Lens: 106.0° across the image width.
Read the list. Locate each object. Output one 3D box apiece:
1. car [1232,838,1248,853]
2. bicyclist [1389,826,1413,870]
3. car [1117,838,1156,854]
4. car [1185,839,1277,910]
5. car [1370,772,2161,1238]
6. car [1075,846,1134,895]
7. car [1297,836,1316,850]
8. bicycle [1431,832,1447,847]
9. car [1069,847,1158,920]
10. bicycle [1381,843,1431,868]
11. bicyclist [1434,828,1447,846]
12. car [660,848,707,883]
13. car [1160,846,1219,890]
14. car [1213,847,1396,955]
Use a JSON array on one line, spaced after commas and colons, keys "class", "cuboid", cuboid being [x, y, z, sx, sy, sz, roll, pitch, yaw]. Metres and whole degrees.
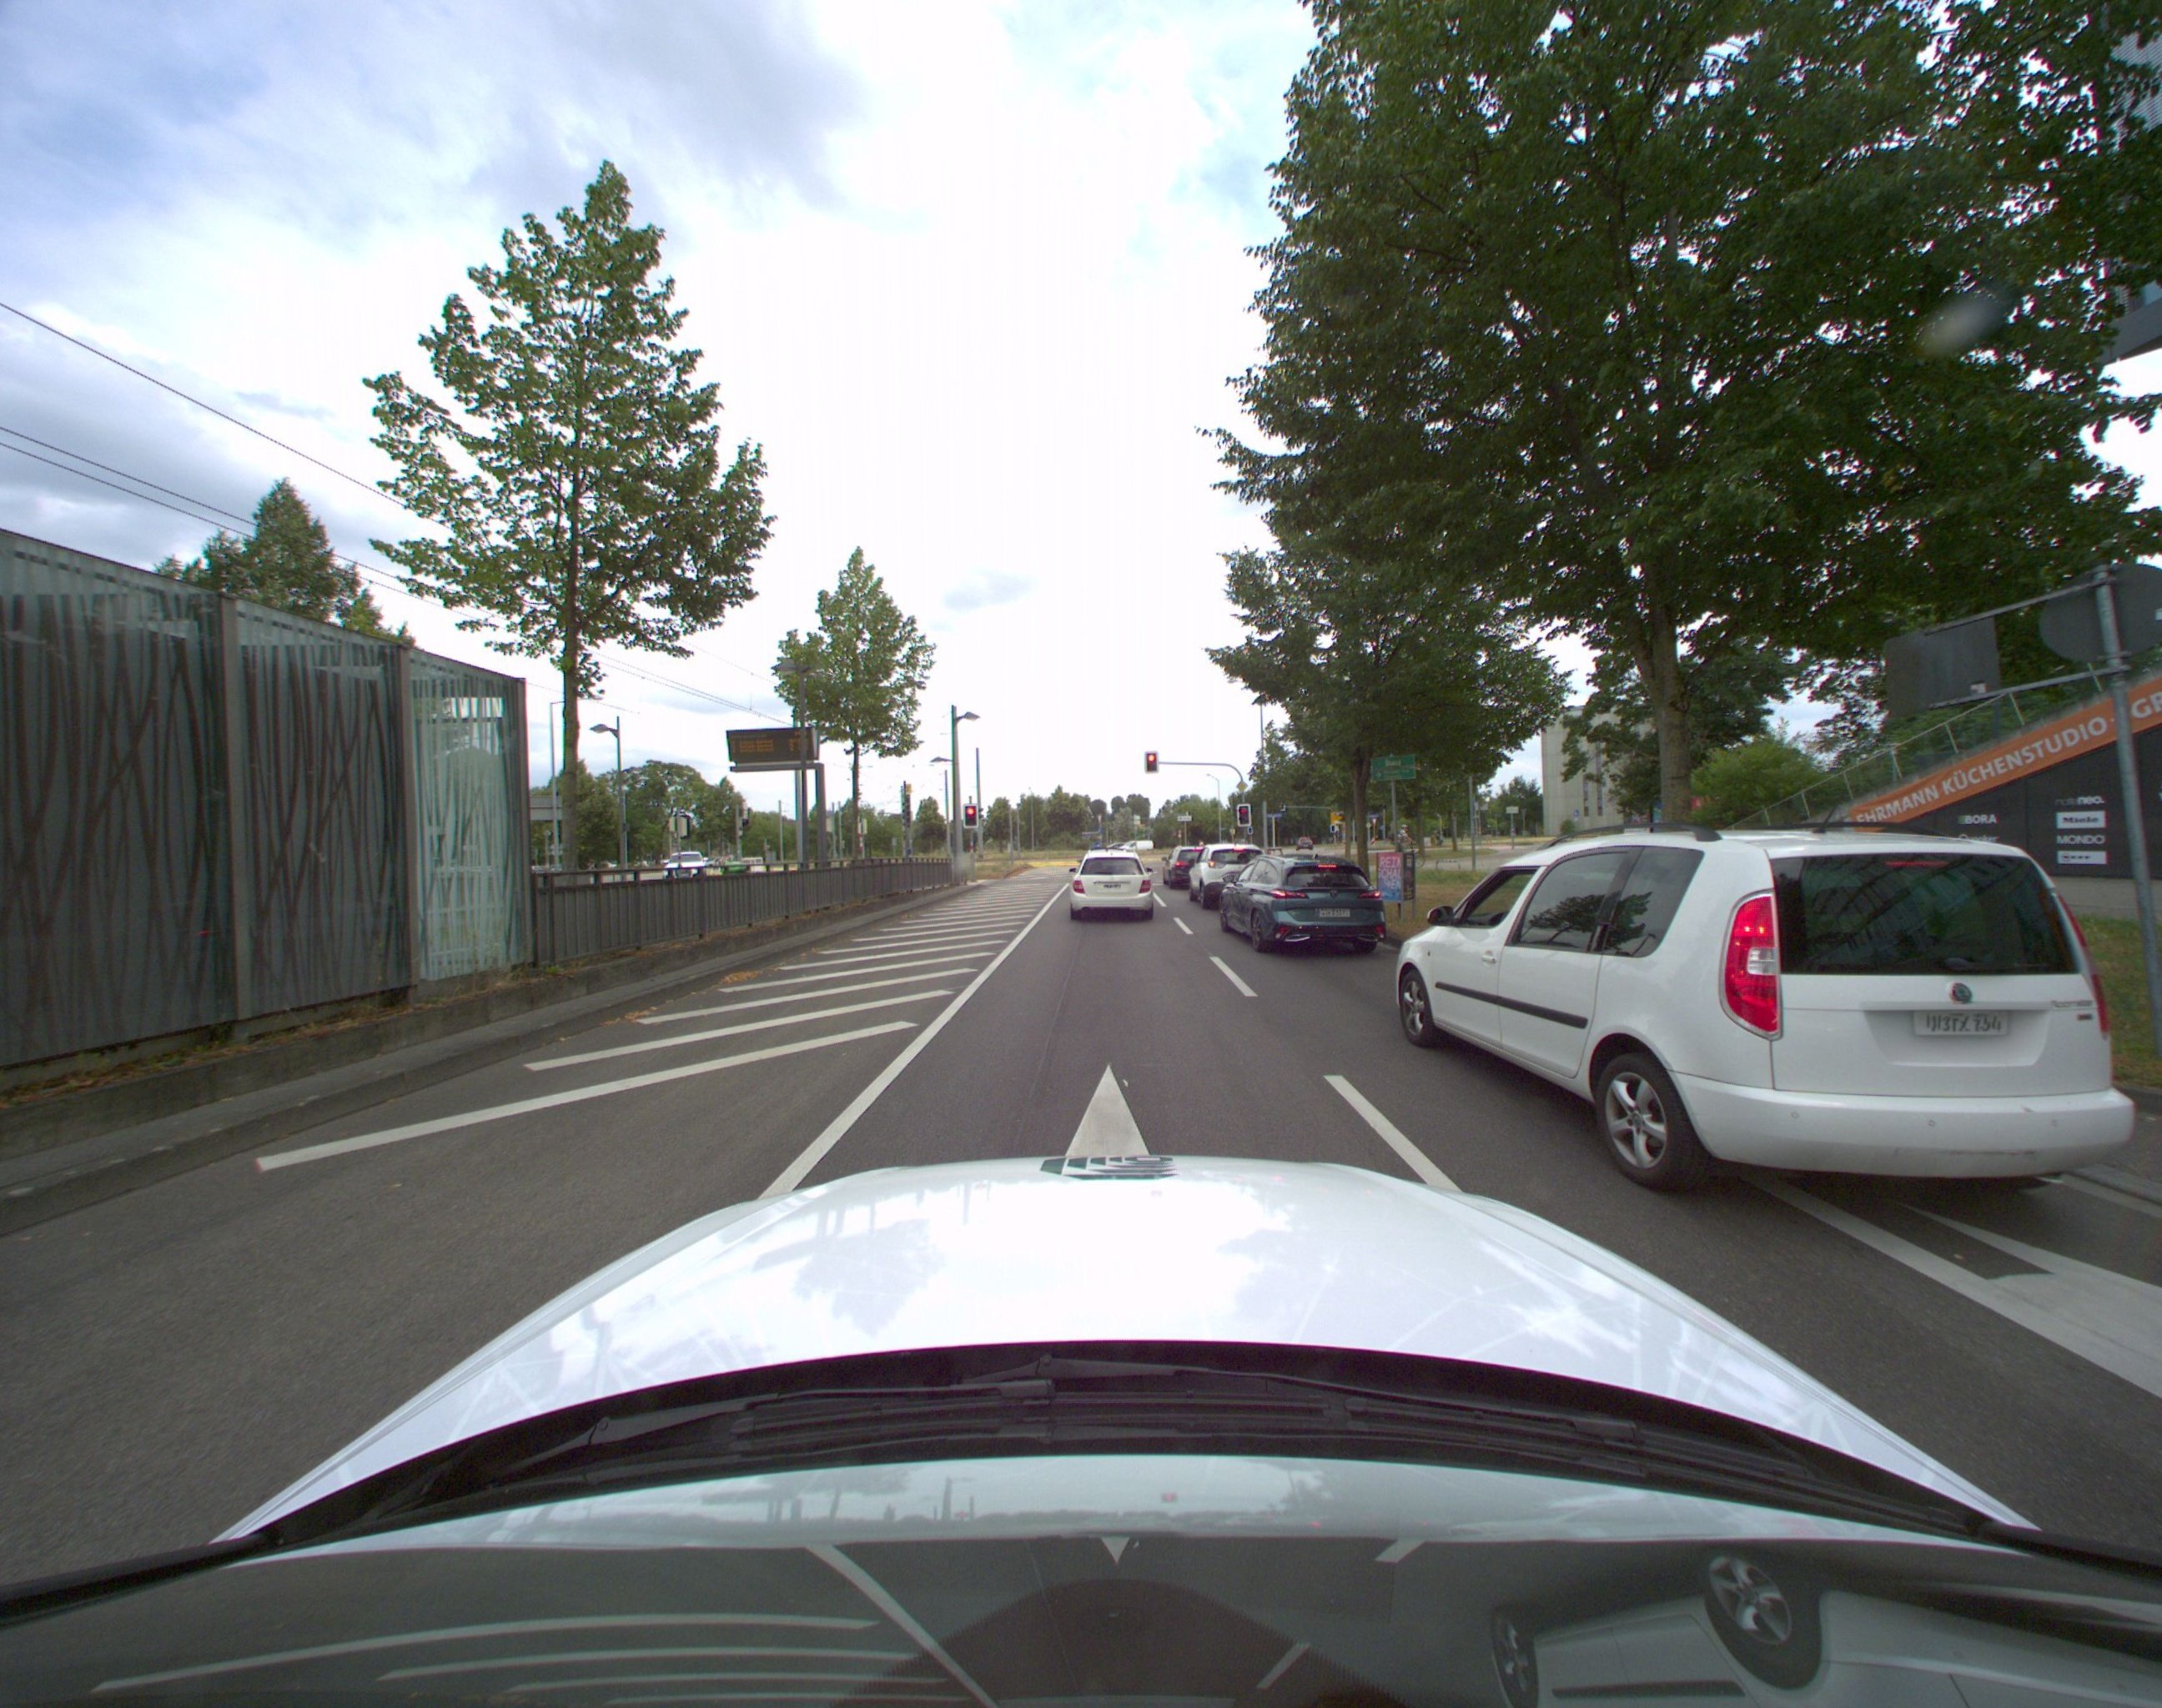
[{"class": "car", "cuboid": [19.922, -1.082, 102.185, 1.981, 1.791, 4.011, 1, 0, 10]}, {"class": "bicyclist", "cuboid": [13.846, -0.265, 35.286, 0.726, 1.885, 0.734, -2, 0, 0]}, {"class": "car", "cuboid": [7.710, -1.075, 113.242, 5.010, 2.013, 1.983, -2, 1, -26]}, {"class": "car", "cuboid": [3.801, 0.460, 21.287, 1.780, 1.624, 3.913, -2, 0, 2]}, {"class": "car", "cuboid": [3.324, 0.533, 4.981, 1.772, 1.656, 4.025, -2, 0, 2]}, {"class": "car", "cuboid": [0.724, 0.475, 26.421, 1.768, 1.448, 3.910, 0, 0, 0]}, {"class": "car", "cuboid": [26.764, -1.333, 96.774, 1.771, 1.636, 4.416, -2, 0, 12]}, {"class": "bicycle", "cuboid": [36.595, -1.515, 83.189, 0.703, 1.505, 2.007, 1, 0, 0]}, {"class": "car", "cuboid": [0.663, 0.580, 18.343, 1.768, 1.448, 3.910, 0, 0, 0]}, {"class": "bicycle", "cuboid": [14.072, 0.058, 35.317, 1.927, 0.984, 0.564, -2, 0, 0]}, {"class": "bicyclist", "cuboid": [36.629, -1.768, 82.999, 0.863, 1.789, 1.175, -2, 0, 0]}, {"class": "car", "cuboid": [-20.100, 0.556, 41.307, 2.003, 1.618, 4.349, -2, 1, -25]}, {"class": "car", "cuboid": [3.828, 0.441, 29.240, 1.619, 1.448, 3.910, 0, 0, 0]}, {"class": "car", "cuboid": [3.414, 0.630, 13.299, 1.782, 1.432, 4.310, -1, 0, 0]}]
